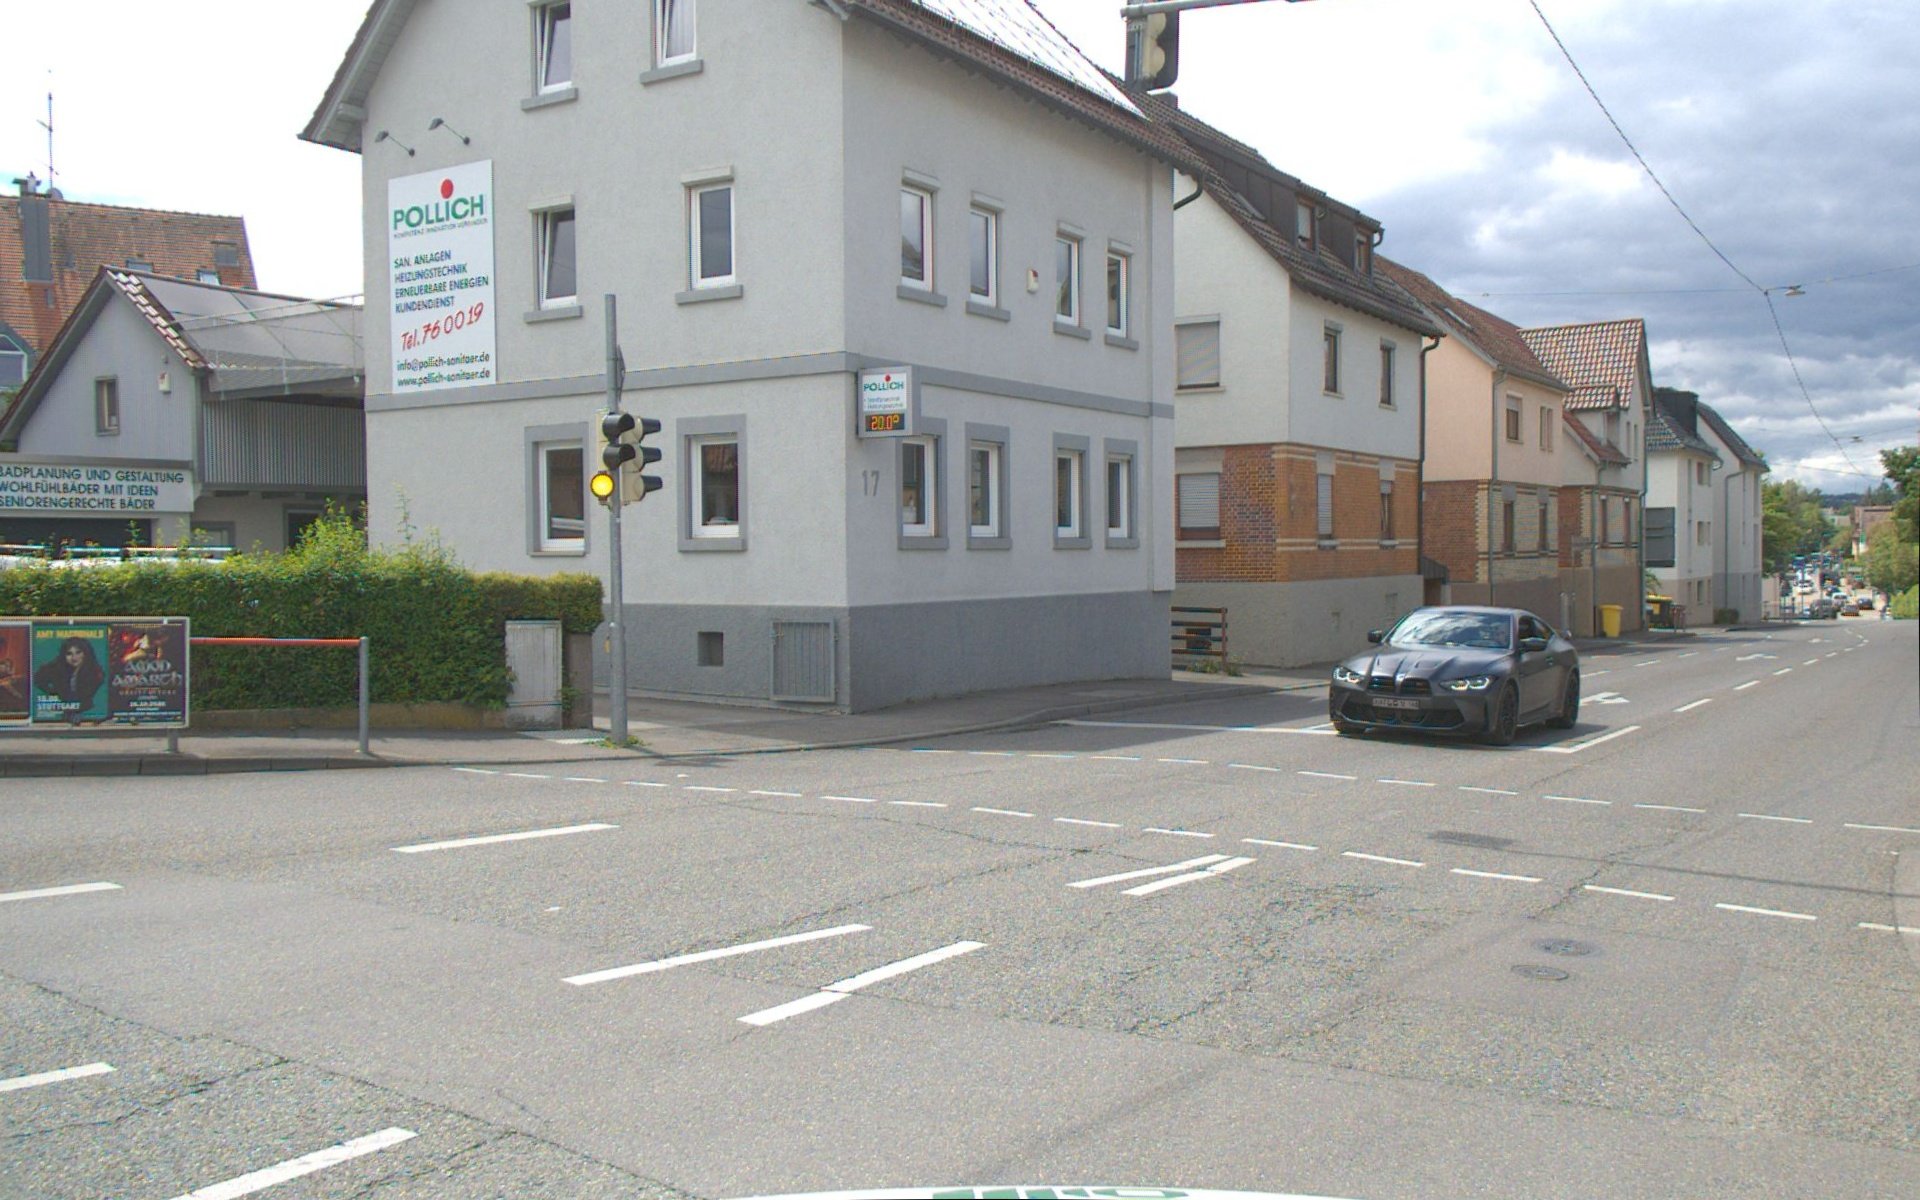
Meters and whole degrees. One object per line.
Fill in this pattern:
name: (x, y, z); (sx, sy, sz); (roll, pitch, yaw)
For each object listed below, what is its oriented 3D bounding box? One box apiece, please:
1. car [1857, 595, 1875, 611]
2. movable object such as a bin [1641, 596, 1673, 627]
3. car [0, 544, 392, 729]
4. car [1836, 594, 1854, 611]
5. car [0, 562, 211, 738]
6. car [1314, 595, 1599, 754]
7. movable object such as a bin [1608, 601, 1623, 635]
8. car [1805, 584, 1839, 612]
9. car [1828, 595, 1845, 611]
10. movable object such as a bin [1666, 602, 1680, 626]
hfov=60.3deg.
car: (118.103, 0.426, 215.728); (1.955, 2.049, 3.994); (-1, -1, 28)
movable object such as a bin: (29.998, 0.481, 71.181); (1.256, 1.333, 0.815); (0, 0, 27)
car: (-9.131, 0.389, 19.922); (1.958, 1.982, 3.989); (-1, 0, 33)
car: (108.559, 0.290, 202.886); (1.955, 2.049, 3.994); (-1, -1, 28)
car: (-11.638, 0.585, 20.380); (1.959, 2.049, 3.988); (0, 0, 34)
car: (5.759, 0.723, 18.781); (1.958, 1.482, 4.606); (2, 2, 31)
movable object such as a bin: (22.569, 0.618, 56.939); (0.423, 1.148, 0.298); (-1, 0, 31)
car: (66.219, -0.155, 127.105); (1.953, 2.049, 3.999); (0, 0, 23)
car: (112.715, 0.400, 212.676); (1.955, 2.049, 3.994); (-1, -1, 28)
movable object such as a bin: (30.946, 0.611, 71.799); (0.522, 1.048, 0.454); (0, 0, 31)
